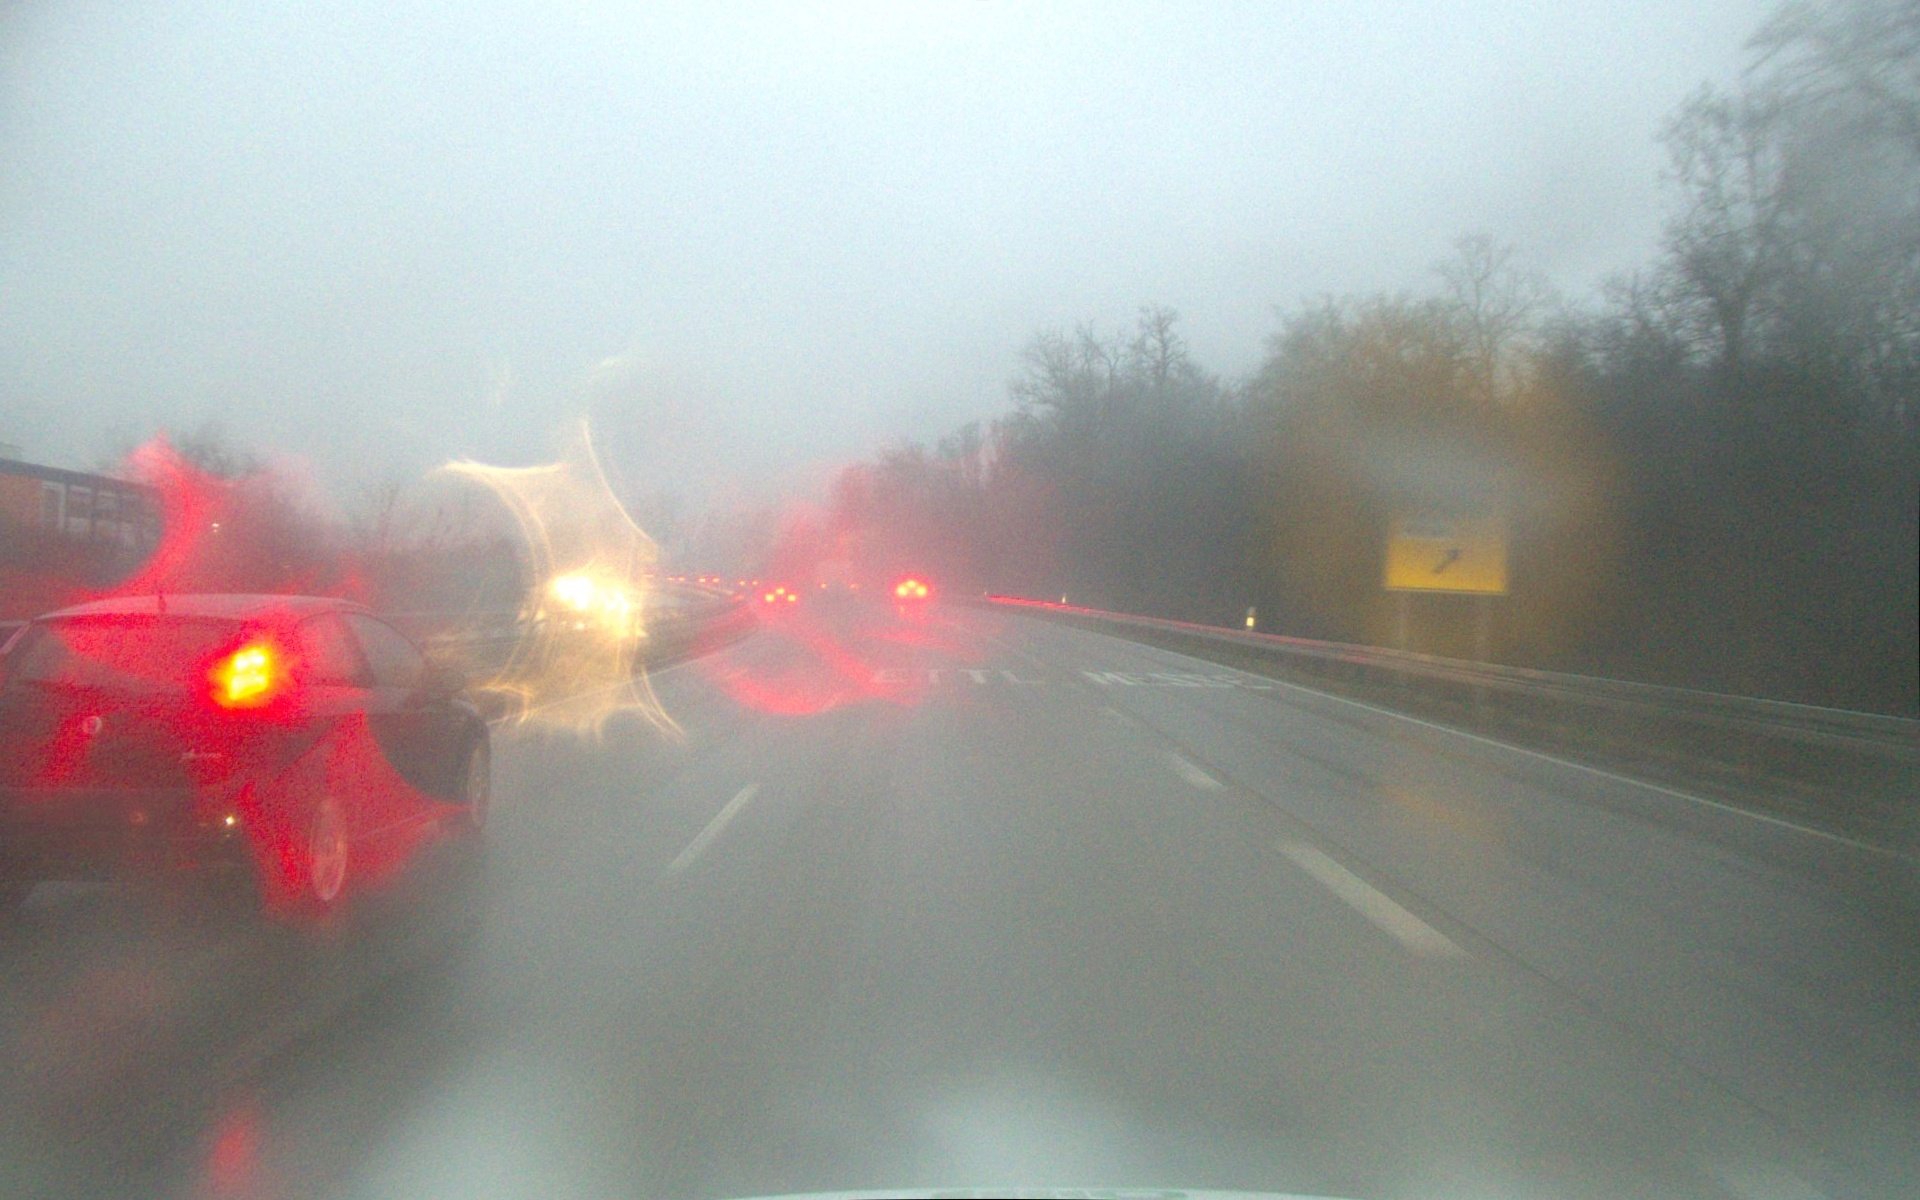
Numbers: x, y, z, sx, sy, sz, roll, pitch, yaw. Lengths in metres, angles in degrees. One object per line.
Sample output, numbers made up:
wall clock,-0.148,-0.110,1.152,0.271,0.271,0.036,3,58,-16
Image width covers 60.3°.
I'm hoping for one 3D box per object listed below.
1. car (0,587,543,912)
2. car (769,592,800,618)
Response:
car,-3.625,0.679,9.324,1.593,1.416,3.999,1,-1,-1
car,-9.815,0.281,92.473,1.387,1.340,3.082,2,0,0
